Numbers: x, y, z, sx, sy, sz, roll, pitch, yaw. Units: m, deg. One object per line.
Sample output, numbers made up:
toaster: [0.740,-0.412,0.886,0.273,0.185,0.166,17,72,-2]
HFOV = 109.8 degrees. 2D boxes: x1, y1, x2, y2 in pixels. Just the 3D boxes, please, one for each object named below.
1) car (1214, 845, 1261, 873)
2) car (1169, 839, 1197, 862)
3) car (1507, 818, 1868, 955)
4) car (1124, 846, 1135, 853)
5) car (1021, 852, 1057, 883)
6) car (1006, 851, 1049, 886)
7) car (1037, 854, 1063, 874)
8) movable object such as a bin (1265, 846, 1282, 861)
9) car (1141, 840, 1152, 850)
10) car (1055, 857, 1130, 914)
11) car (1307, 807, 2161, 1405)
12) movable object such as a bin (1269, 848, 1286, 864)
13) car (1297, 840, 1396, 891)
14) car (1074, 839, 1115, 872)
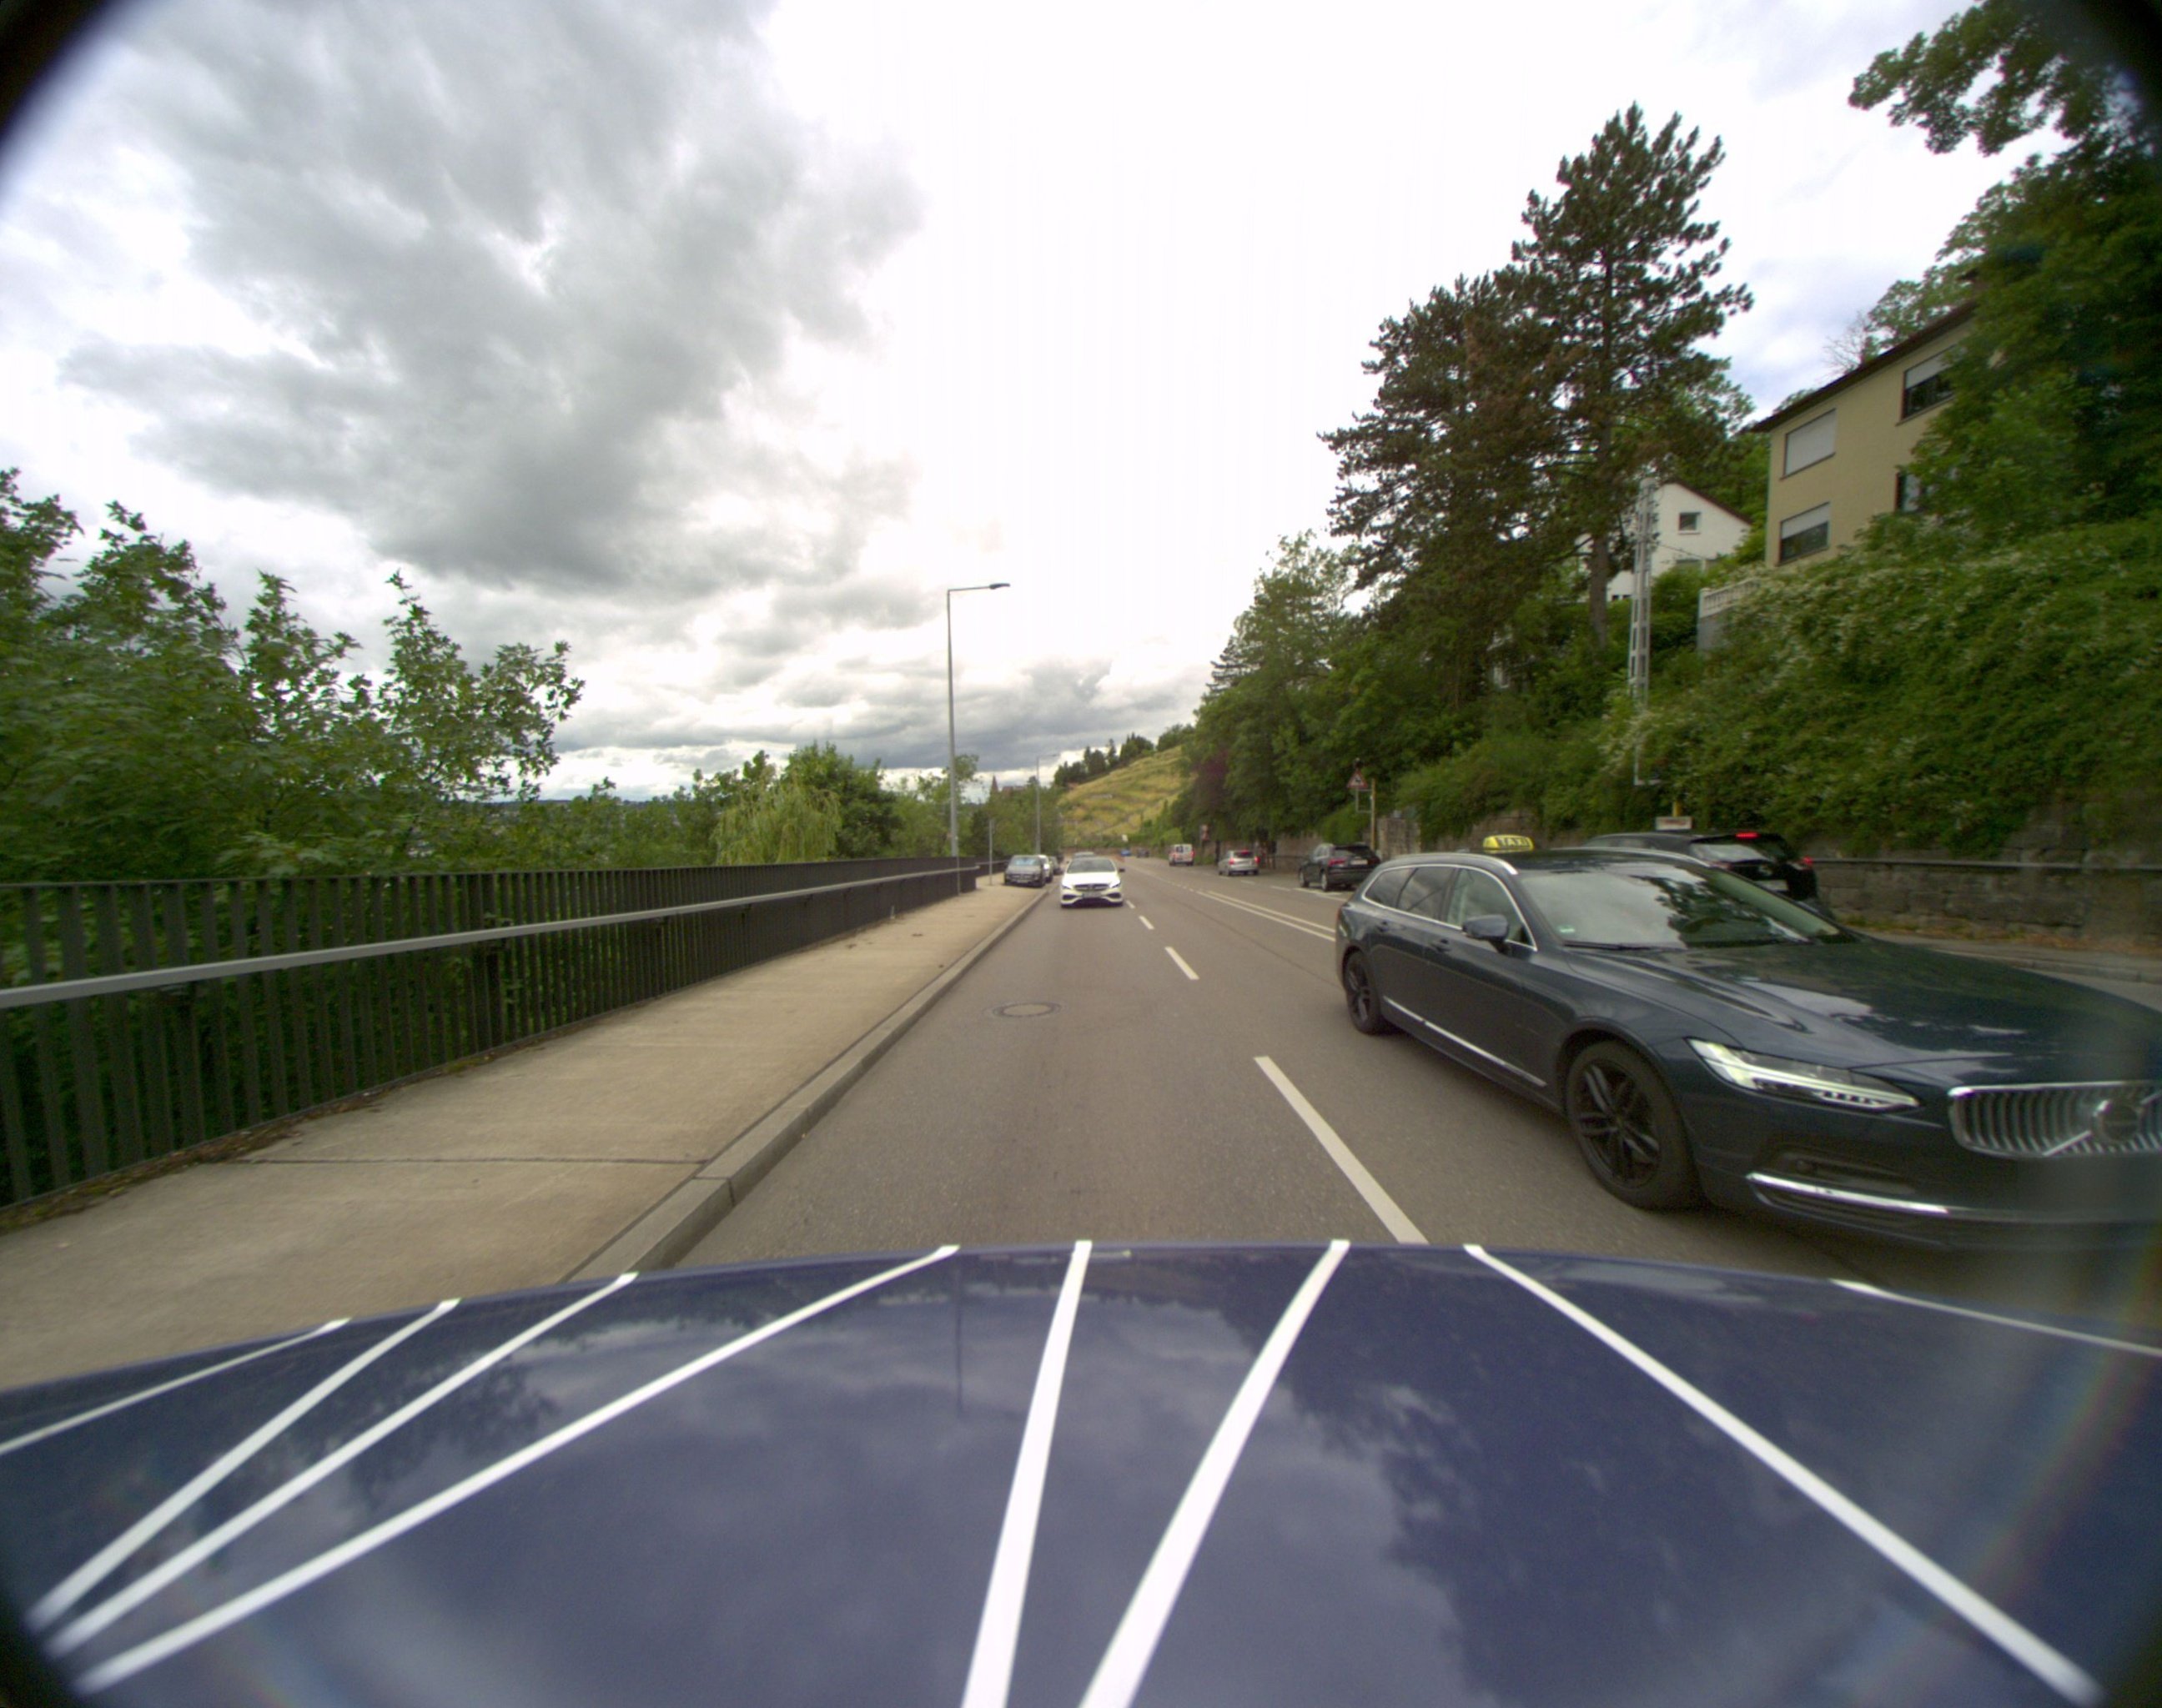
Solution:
car: [8.738,0.265,42.671,1.680,1.434,4.233,-4,0,0]
car: [9.456,-0.341,70.556,1.926,1.993,5.355,-2,1,1]
car: [8.208,0.368,10.901,1.786,1.473,4.211,-4,0,1]
car: [9.521,-0.865,148.404,1.588,1.453,3.521,-2,1,-5]
car: [-2.308,0.705,43.093,1.731,1.559,4.623,-1,1,1]
car: [-2.528,0.655,36.842,1.761,1.535,4.426,1,1,0]
car: [-2.313,0.713,57.629,1.828,1.393,4.318,1,1,-1]
movable object such as a bin: [12.418,-0.056,49.054,0.919,0.940,0.593,-2,1,-2]
car: [11.242,-1.524,130.654,1.819,1.688,4.470,-2,1,6]
car: [0.322,0.842,22.188,1.903,1.418,4.265,-3,0,1]
car: [3.067,0.642,4.571,1.939,1.567,5.026,-3,1,1]
movable object such as a bin: [12.495,0.130,48.394,0.901,1.028,0.621,-2,1,-3]
car: [8.915,0.332,25.931,1.946,1.540,4.248,-1,1,1]
car: [0.753,0.044,40.700,1.998,1.580,3.999,-4,1,1]
